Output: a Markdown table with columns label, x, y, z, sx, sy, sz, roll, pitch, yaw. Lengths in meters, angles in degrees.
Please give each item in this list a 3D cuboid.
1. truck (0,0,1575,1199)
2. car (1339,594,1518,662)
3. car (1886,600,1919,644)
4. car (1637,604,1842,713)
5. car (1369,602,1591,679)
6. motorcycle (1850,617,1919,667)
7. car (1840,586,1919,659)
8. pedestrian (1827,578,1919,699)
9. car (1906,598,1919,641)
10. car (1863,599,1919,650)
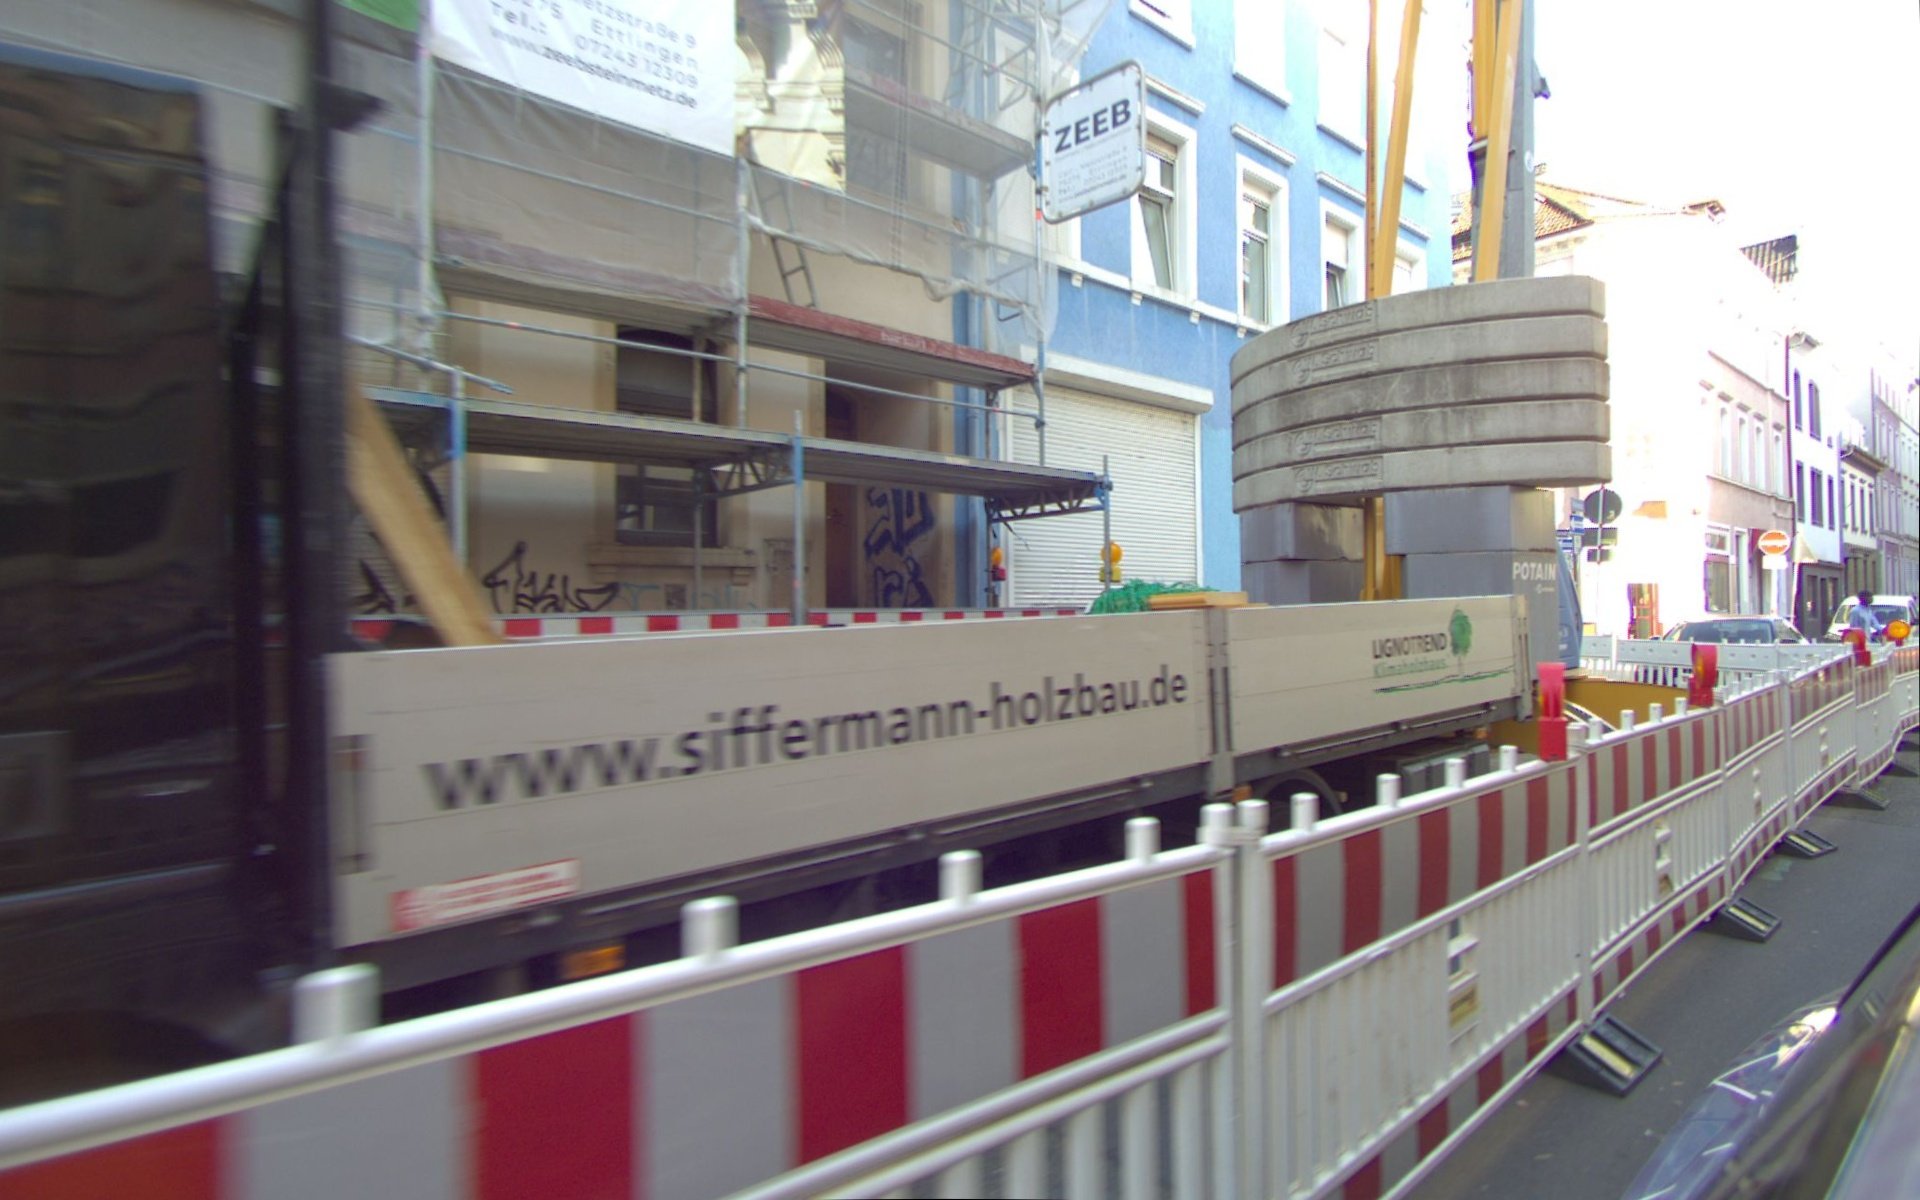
| label | x | y | z | sx | sy | sz | roll | pitch | yaw |
| --- | --- | --- | --- | --- | --- | --- | --- | --- | --- |
| truck | -0.451 | 0.051 | 3.970 | 7.263 | 2.850 | 2.665 | -1 | -2 | -41 |
| car | 12.848 | 0.766 | 27.952 | 1.824 | 1.653 | 4.066 | -3 | 0 | -40 |
| car | 33.179 | 0.719 | 34.685 | 3.814 | 1.413 | 1.734 | -1 | 1 | -41 |
| car | 12.203 | 0.826 | 15.768 | 3.964 | 1.452 | 1.774 | 0 | -2 | -41 |
| car | 11.001 | 0.834 | 21.611 | 1.647 | 1.472 | 3.874 | 0 | -2 | -40 |
| motorcycle | 22.763 | 1.012 | 24.880 | 1.956 | 1.099 | 0.722 | -1 | 3 | -30 |
| car | 25.318 | 0.550 | 27.353 | 4.294 | 1.839 | 1.751 | -1 | 1 | -41 |
| pedestrian | 14.690 | 0.603 | 16.246 | 0.764 | 1.873 | 0.773 | -1 | -2 | -12 |
| car | 36.568 | 0.711 | 37.671 | 3.707 | 1.523 | 1.619 | -1 | 1 | -41 |
| car | 28.877 | 0.703 | 30.829 | 3.814 | 1.426 | 1.611 | -1 | 1 | -41 |
